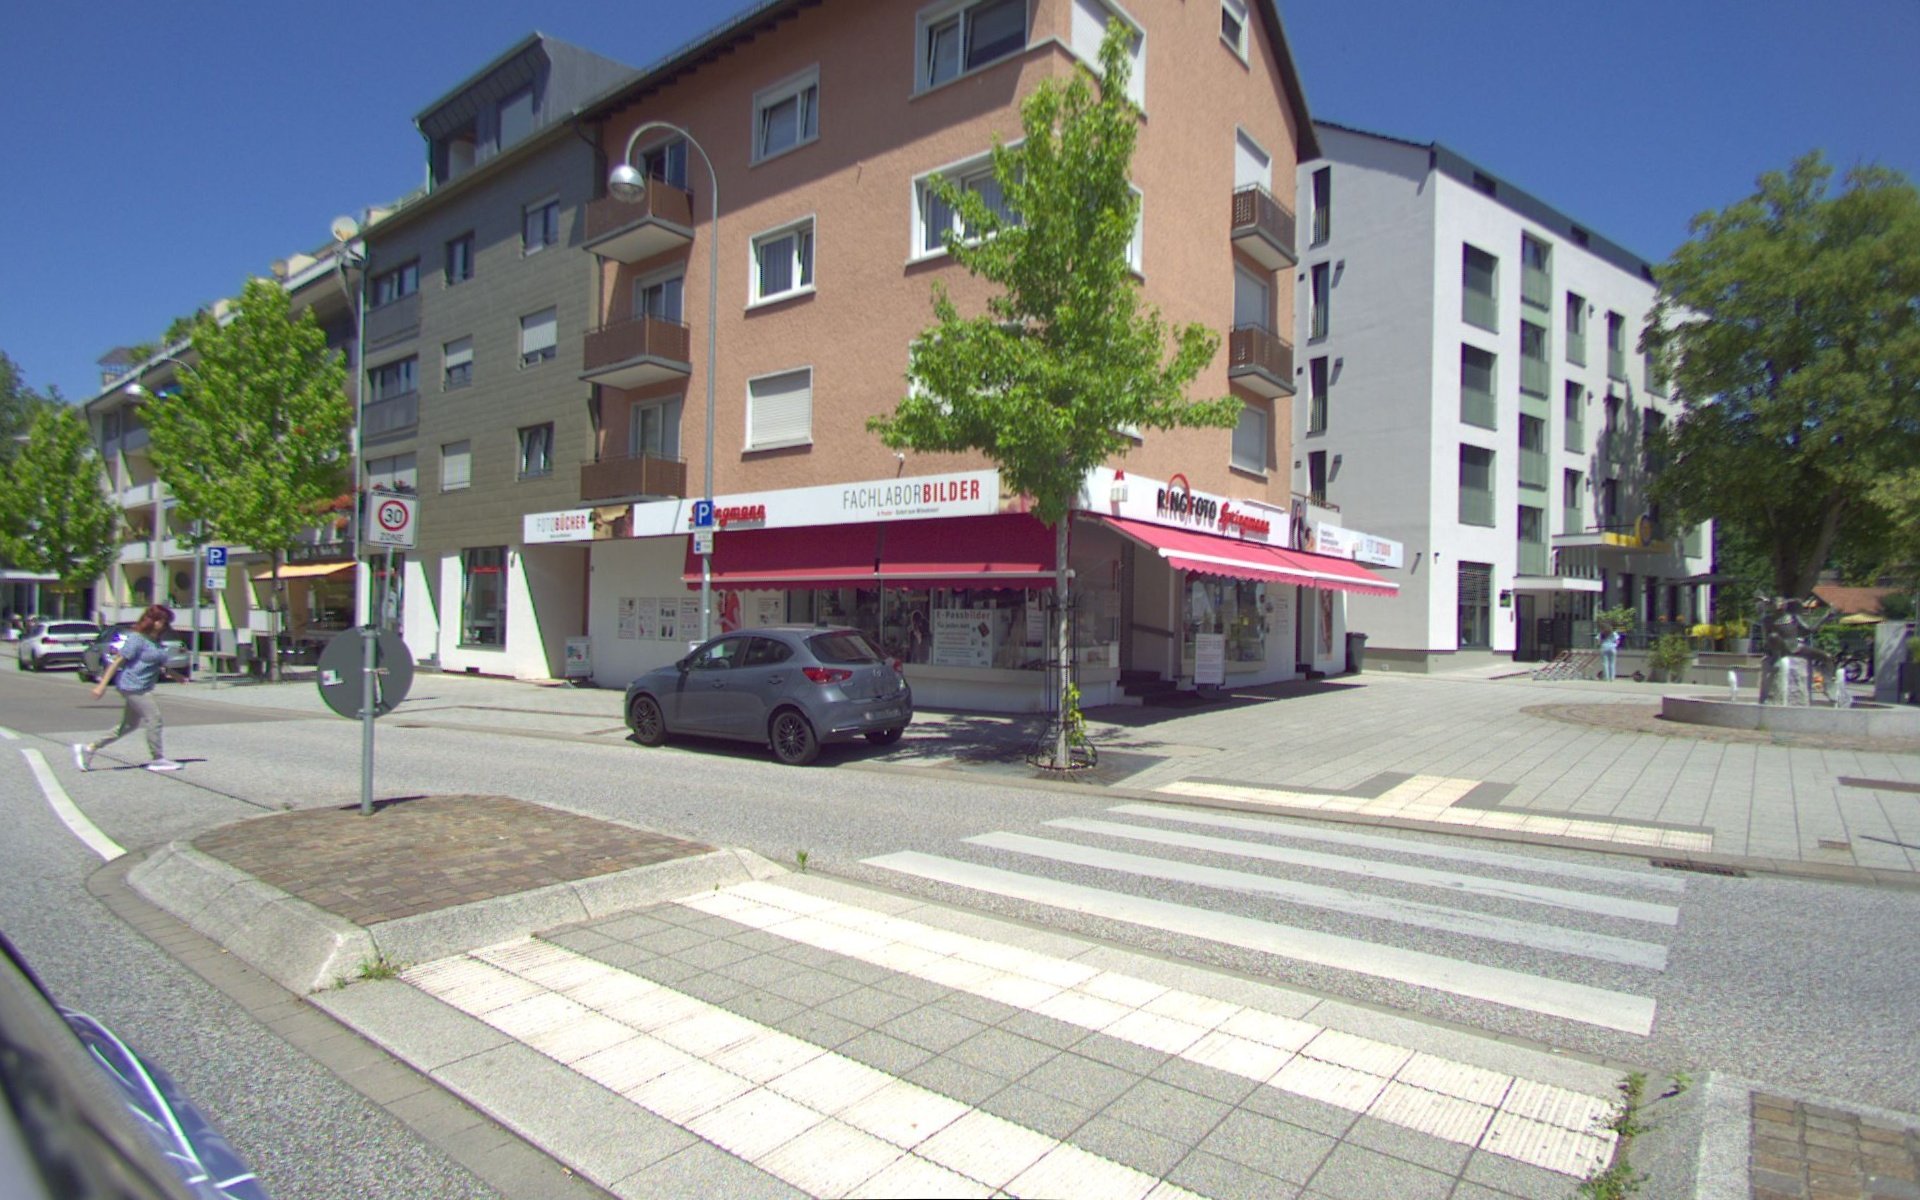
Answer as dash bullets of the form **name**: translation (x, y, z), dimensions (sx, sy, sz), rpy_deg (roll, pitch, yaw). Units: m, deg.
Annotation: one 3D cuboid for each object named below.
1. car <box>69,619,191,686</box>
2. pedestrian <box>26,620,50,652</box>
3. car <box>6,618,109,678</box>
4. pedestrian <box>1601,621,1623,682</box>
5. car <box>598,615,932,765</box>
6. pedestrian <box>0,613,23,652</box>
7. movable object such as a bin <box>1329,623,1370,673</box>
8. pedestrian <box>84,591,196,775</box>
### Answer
- **car**: translation (-20.095, 1.224, 24.472), dimensions (3.545, 1.485, 1.605), rpy_deg (-1, -2, 40)
- **pedestrian**: translation (-43.927, 1.719, 48.237), dimensions (0.767, 1.510, 0.698), rpy_deg (2, -3, -40)
- **car**: translation (-28.052, 1.447, 31.413), dimensions (4.296, 1.603, 1.679), rpy_deg (-1, 3, 40)
- **pedestrian**: translation (17.802, 1.398, 27.629), dimensions (0.449, 1.631, 0.445), rpy_deg (-1, -2, 37)
- **car**: translation (-2.457, 0.959, 12.309), dimensions (4.052, 1.497, 1.652), rpy_deg (-1, 0, 36)
- **pedestrian**: translation (-44.264, 1.532, 47.251), dimensions (0.657, 1.818, 0.687), rpy_deg (2, -3, -36)
- **movable object such as a bin**: translation (10.012, 1.222, 25.999), dimensions (0.747, 1.262, 0.826), rpy_deg (-1, -3, 41)
- **pedestrian**: translation (-7.603, 0.749, 9.388), dimensions (0.723, 1.622, 0.560), rpy_deg (3, -3, -43)
